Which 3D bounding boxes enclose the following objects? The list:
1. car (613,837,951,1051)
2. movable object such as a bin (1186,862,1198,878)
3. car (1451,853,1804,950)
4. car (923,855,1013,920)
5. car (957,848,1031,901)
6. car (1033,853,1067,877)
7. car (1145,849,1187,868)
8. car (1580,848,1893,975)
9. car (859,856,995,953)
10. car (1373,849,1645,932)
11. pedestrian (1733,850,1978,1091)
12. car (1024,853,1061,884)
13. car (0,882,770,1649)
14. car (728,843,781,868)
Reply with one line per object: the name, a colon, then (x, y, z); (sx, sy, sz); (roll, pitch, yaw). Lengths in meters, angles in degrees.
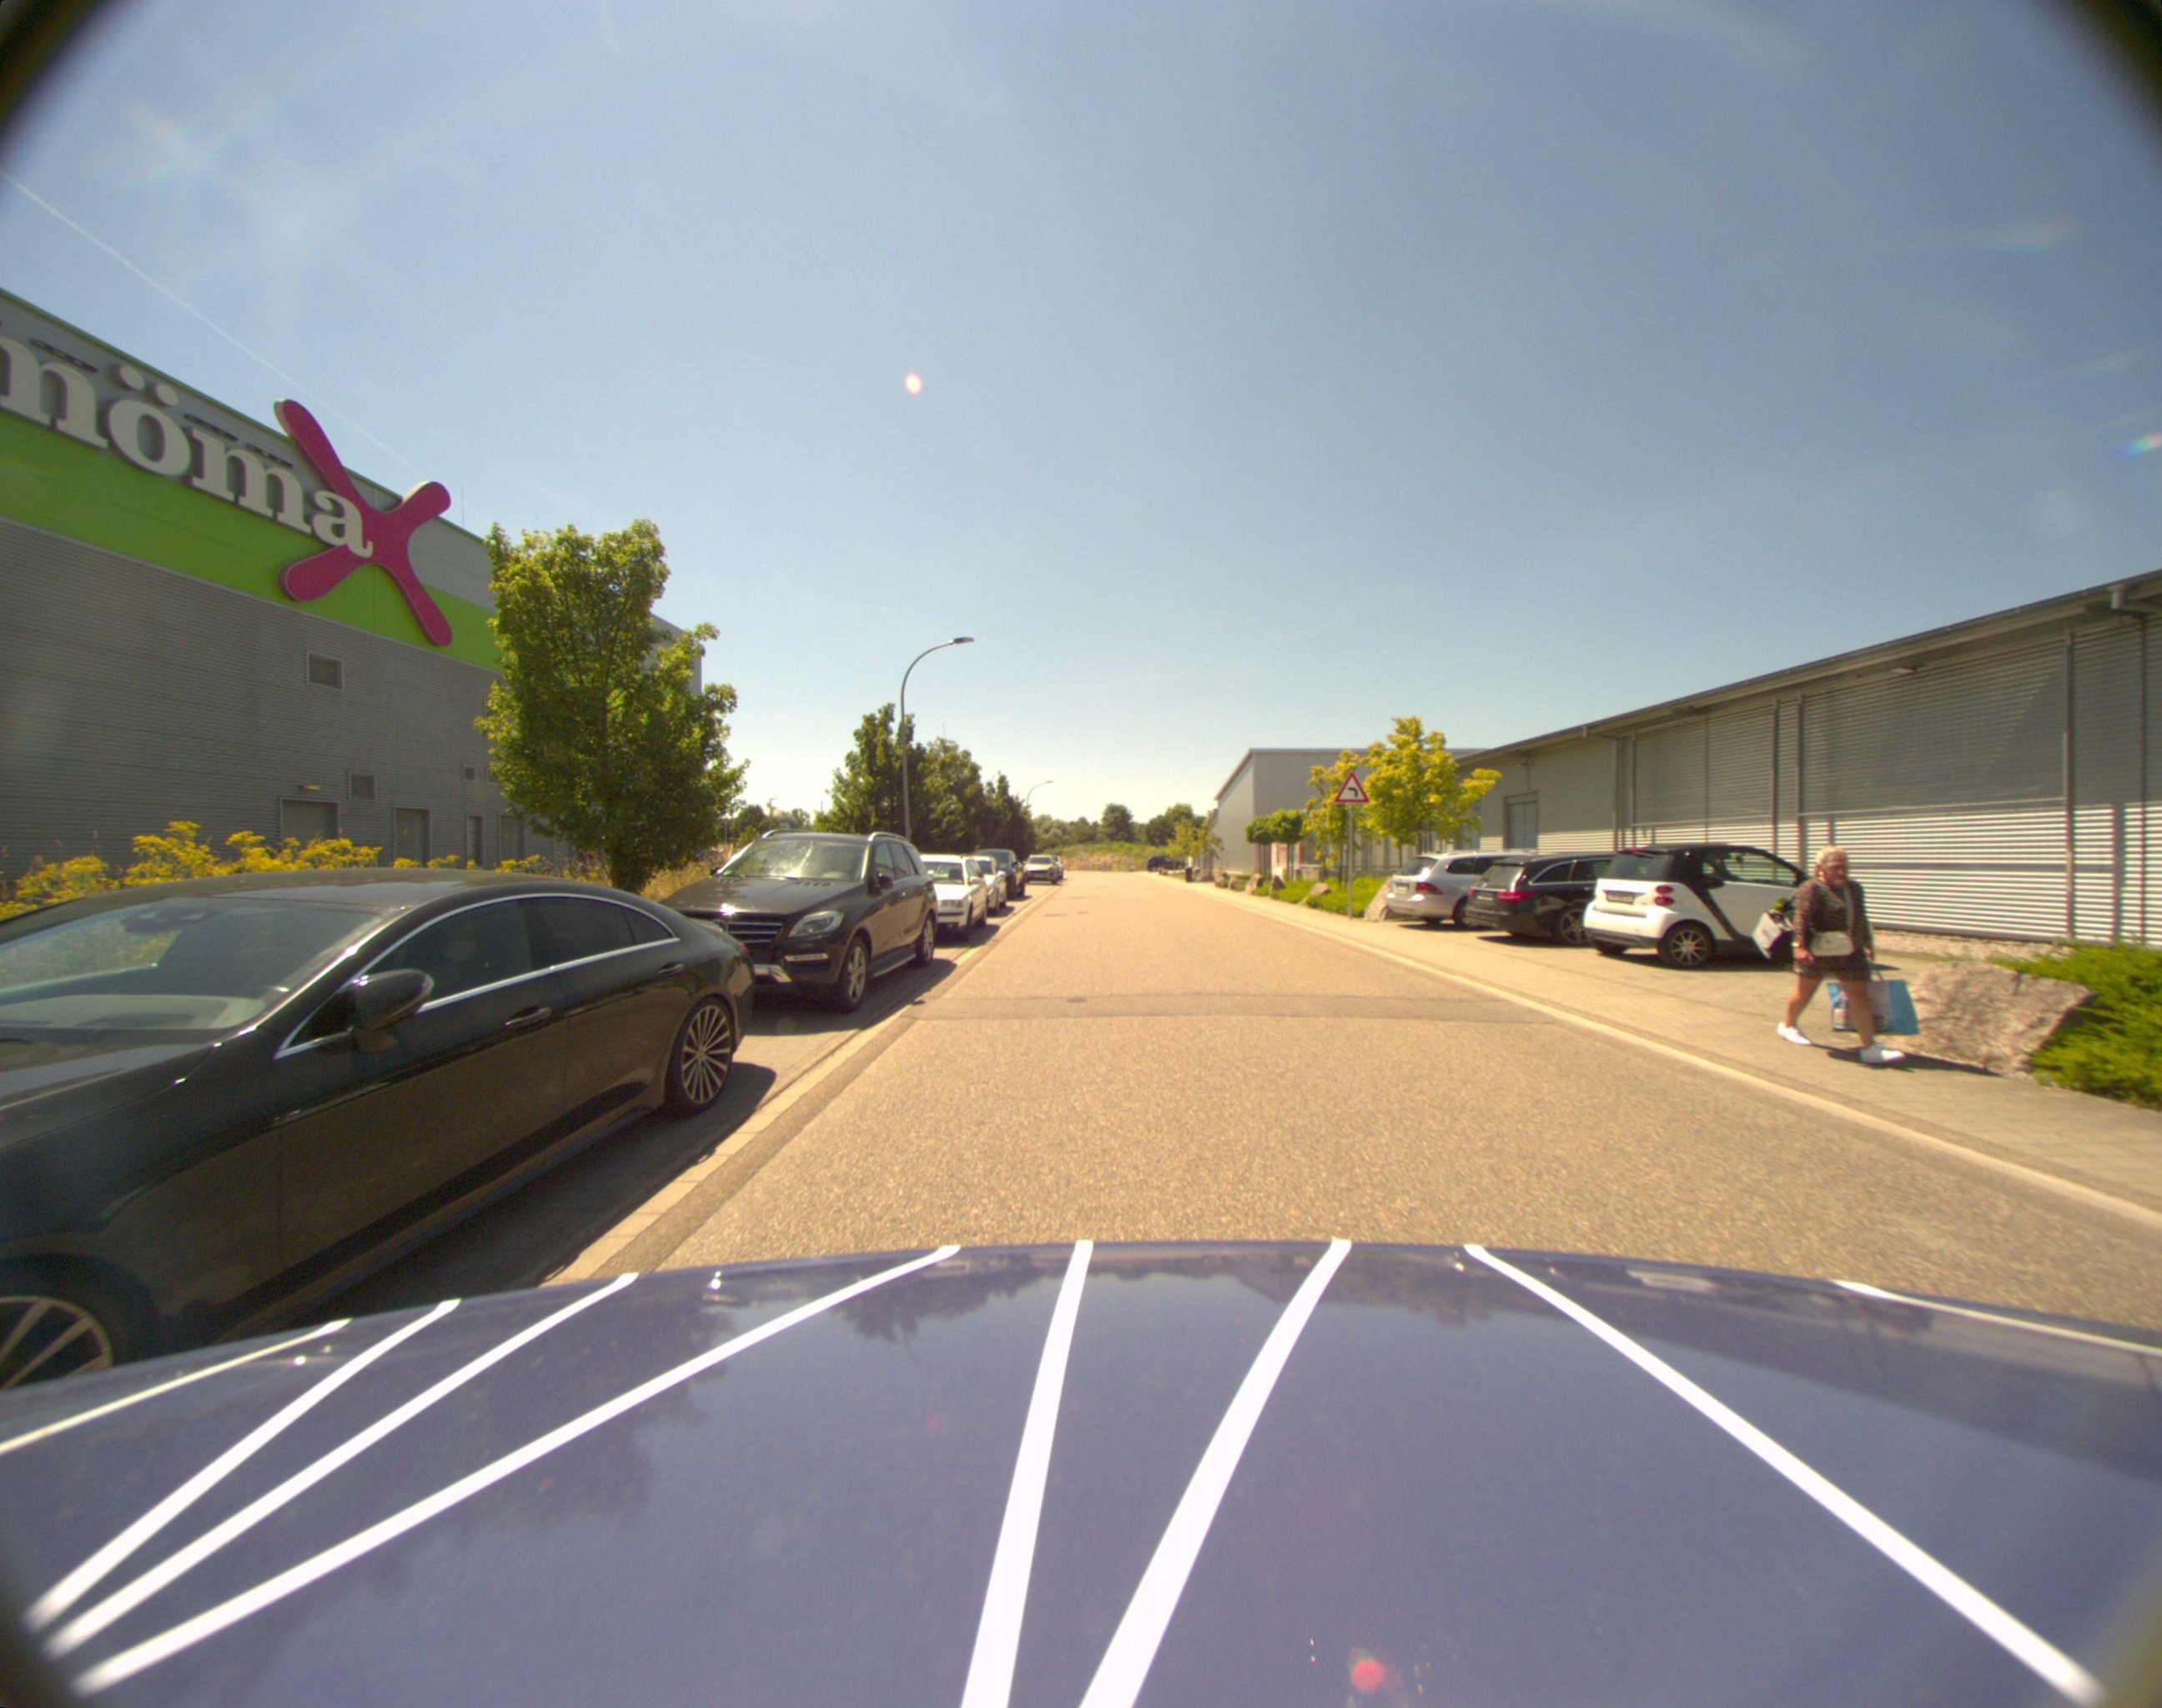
car: (-2.887, 0.742, 8.659); (1.815, 1.715, 4.774); (1, 0, 2)
movable object such as a bin: (6.680, 0.980, 45.712); (0.572, 0.944, 0.512); (-1, 0, -5)
car: (8.562, 0.714, 12.238); (4.319, 1.423, 1.847); (0, 1, 2)
car: (-2.884, 0.798, 20.331); (1.809, 1.474, 4.772); (1, 0, -2)
car: (-2.991, 0.667, 27.120); (1.953, 1.691, 4.545); (1, 0, 2)
car: (-2.220, 0.778, 55.943); (2.149, 1.688, 4.785); (1, 0, 1)
car: (8.942, 0.508, 80.498); (4.172, 1.649, 1.781); (-5, 1, 1)
car: (8.368, 0.689, 9.887); (2.748, 1.509, 1.535); (0, 1, 0)
car: (-2.684, 0.801, 14.336); (1.718, 1.474, 4.772); (1, 0, -2)
car: (8.217, 0.665, 14.889); (4.273, 1.509, 1.866); (0, 1, 0)
pedestrian: (5.444, 0.770, 5.401); (0.901, 1.565, 0.785); (-2, 0, 2)
car: (-2.141, 0.776, 43.517); (1.809, 1.626, 4.458); (1, 0, 1)
car: (-3.041, 0.924, 2.763); (1.702, 1.375, 4.837); (2, 1, 1)
car: (-24.526, 0.127, 57.210); (1.998, 1.775, 4.402); (0, -1, 1)
